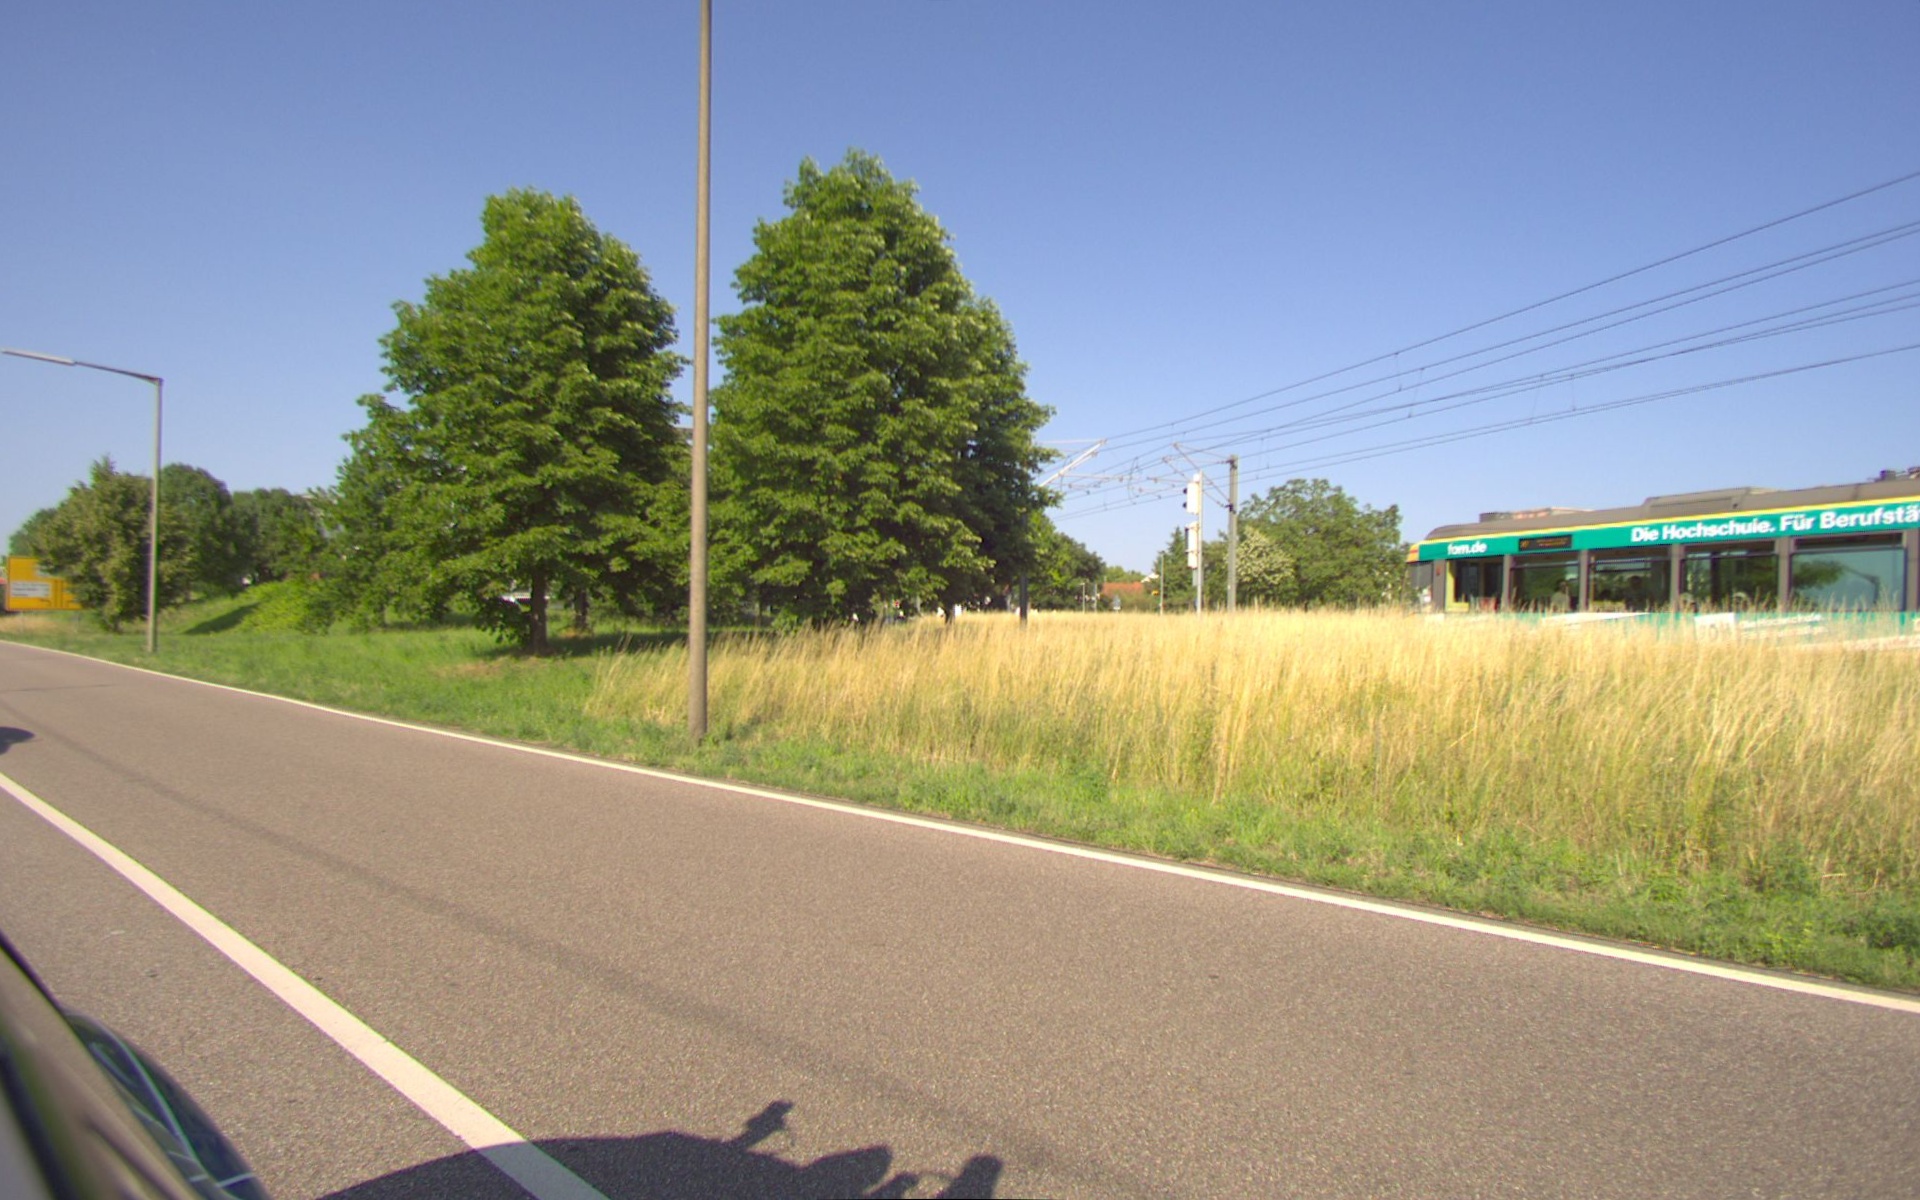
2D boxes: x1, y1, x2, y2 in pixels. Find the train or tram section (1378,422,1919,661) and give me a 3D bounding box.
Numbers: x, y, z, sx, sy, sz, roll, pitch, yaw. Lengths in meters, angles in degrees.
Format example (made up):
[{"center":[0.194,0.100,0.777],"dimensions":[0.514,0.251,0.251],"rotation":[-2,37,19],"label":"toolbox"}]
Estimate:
[{"center":[13.853,-0.840,19.761],"dimensions":[2.909,3.511,12.205],"rotation":[0,0,-21],"label":"train or tram section"}]
